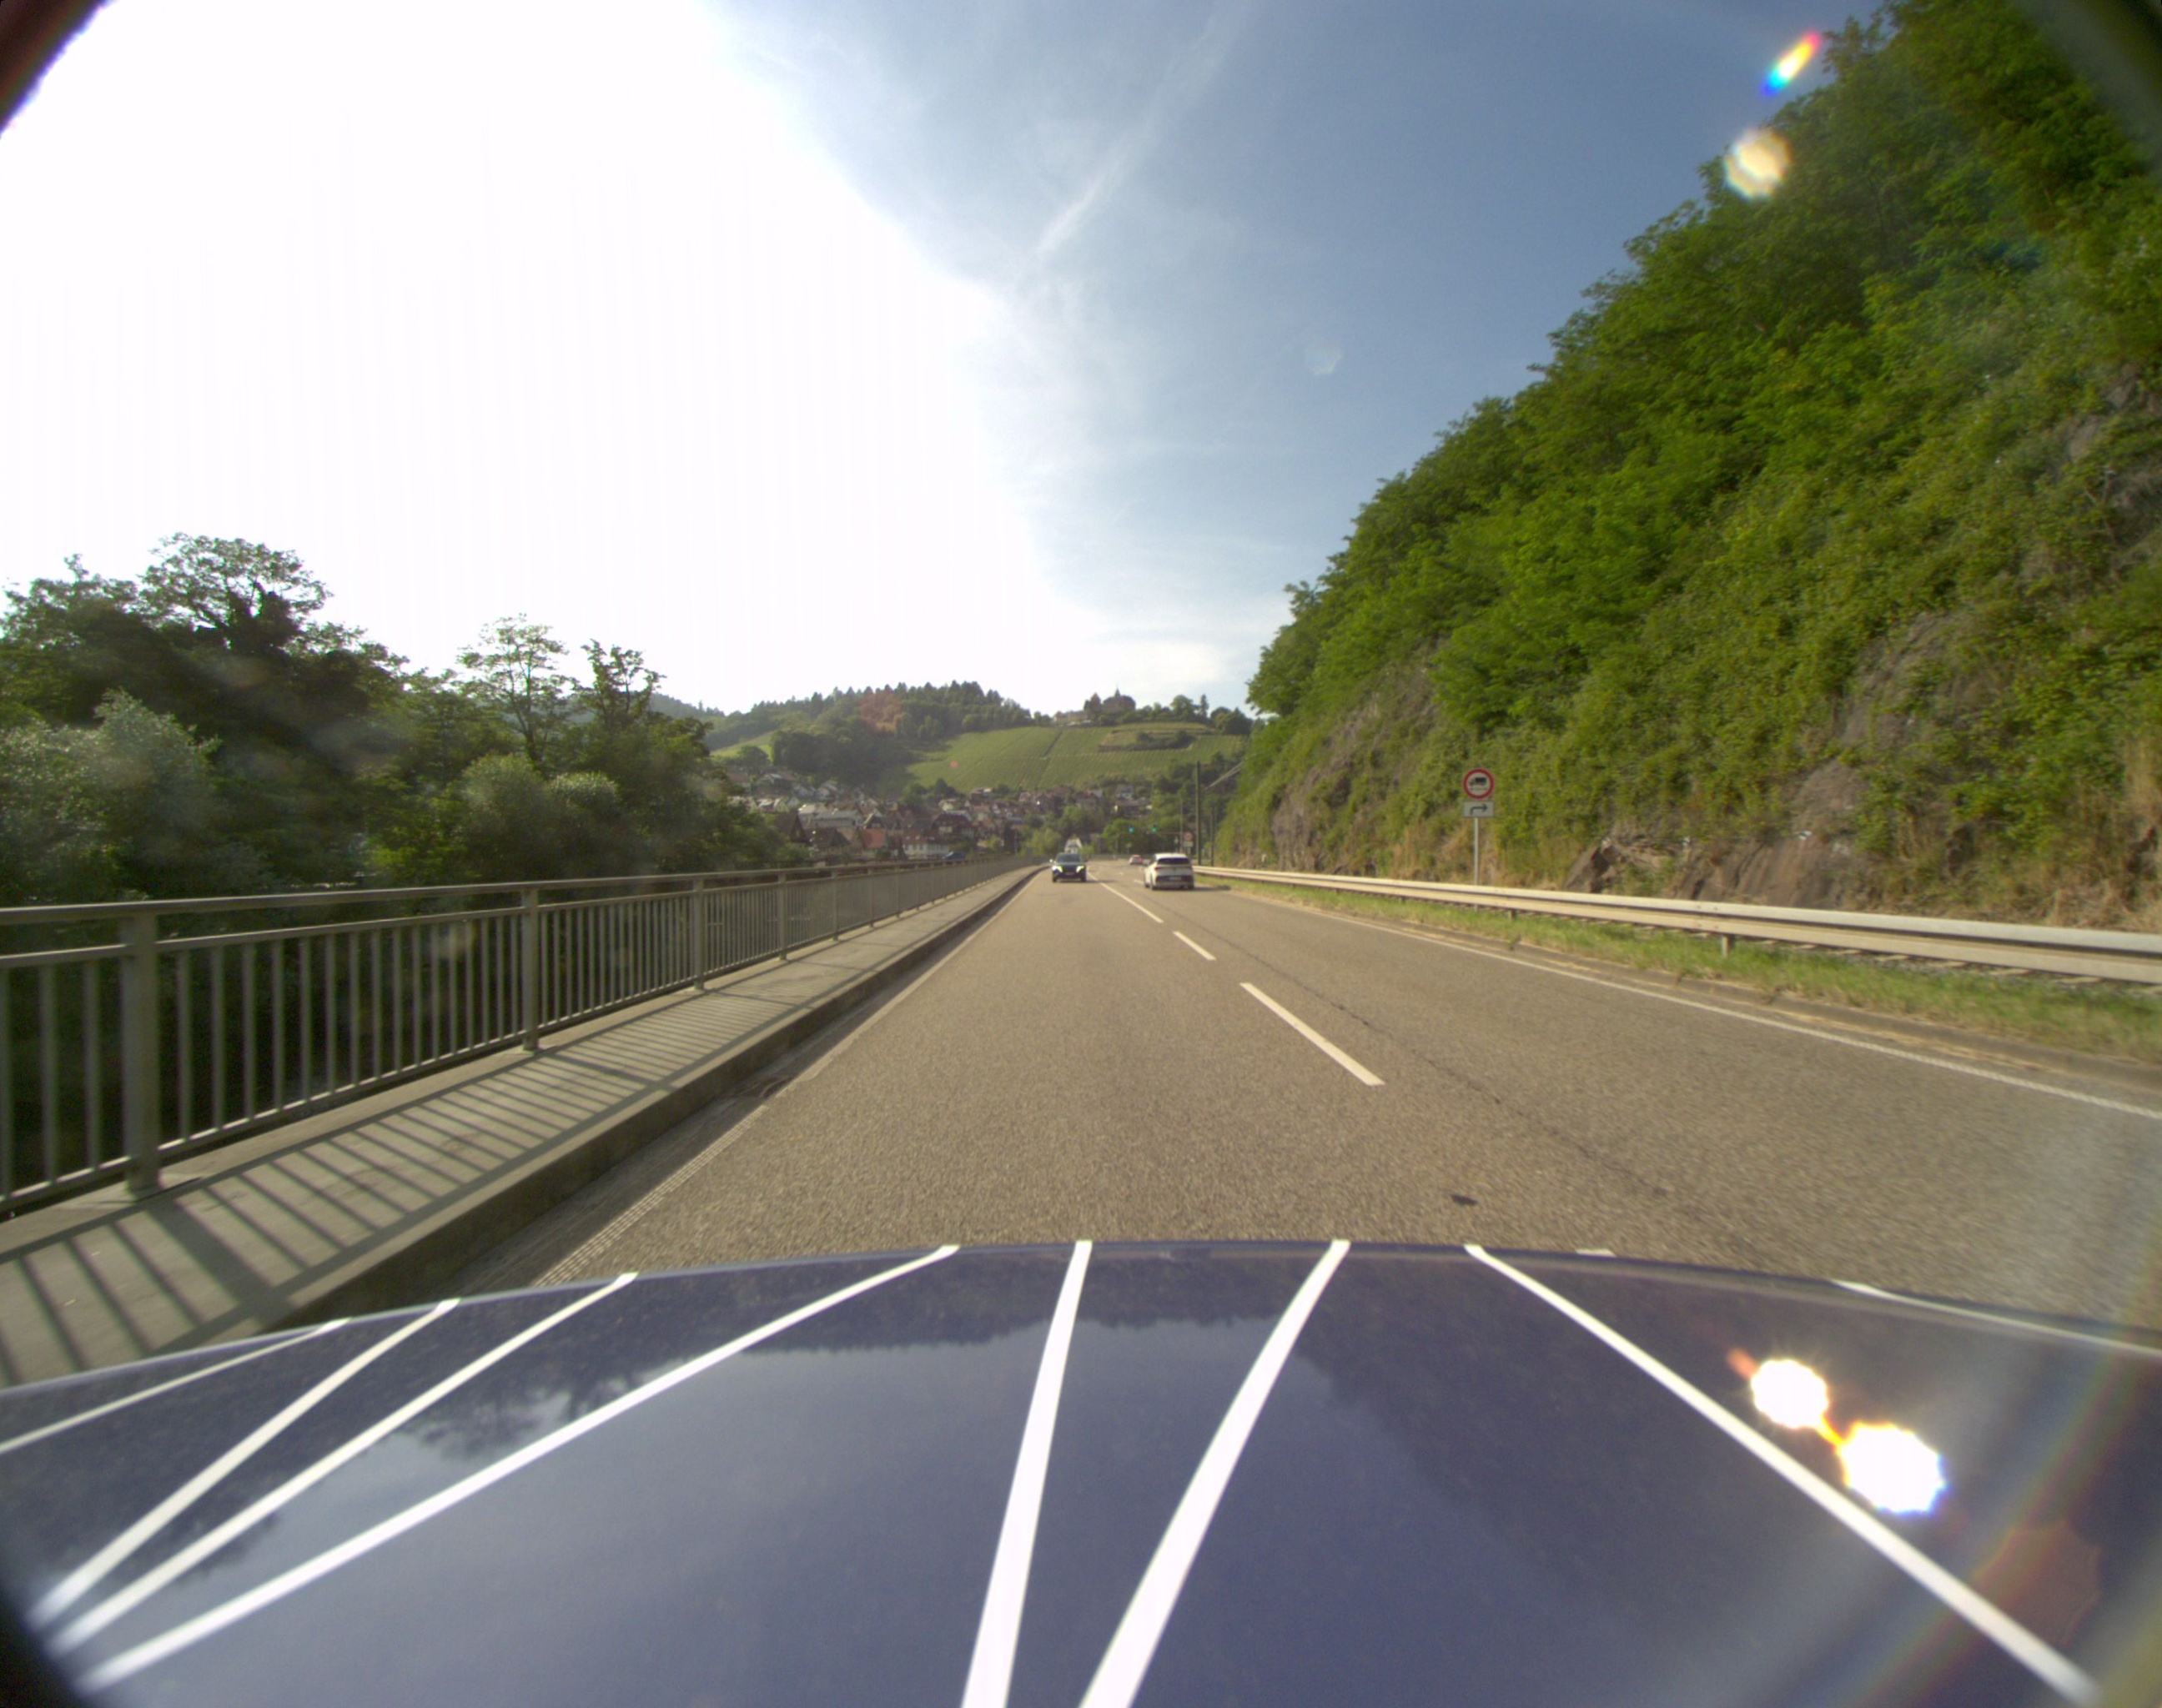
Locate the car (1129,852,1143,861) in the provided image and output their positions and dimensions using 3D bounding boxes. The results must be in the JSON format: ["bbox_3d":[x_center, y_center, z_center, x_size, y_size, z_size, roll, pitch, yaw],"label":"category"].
[{"bbox_3d":[8.446,0.344,117.988,2.068,1.431,4.686,0,1,3],"label":"car"}]

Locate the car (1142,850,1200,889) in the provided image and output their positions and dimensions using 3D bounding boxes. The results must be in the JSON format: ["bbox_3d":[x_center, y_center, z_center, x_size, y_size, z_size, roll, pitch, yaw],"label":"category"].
[{"bbox_3d":[3.823,0.626,32.990,1.852,1.535,4.603,-2,0,-1],"label":"car"}]

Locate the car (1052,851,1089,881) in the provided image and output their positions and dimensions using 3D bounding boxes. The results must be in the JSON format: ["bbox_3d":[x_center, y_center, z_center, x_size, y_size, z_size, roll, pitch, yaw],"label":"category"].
[{"bbox_3d":[-0.612,0.656,42.873,1.864,1.576,3.998,1,0,-4],"label":"car"}]

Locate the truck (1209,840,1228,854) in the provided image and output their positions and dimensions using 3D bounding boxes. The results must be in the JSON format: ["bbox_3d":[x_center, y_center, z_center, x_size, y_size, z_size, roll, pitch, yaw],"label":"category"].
[{"bbox_3d":[37.843,-1.824,208.802,2.899,3.777,8.910,1,0,25],"label":"truck"}]
